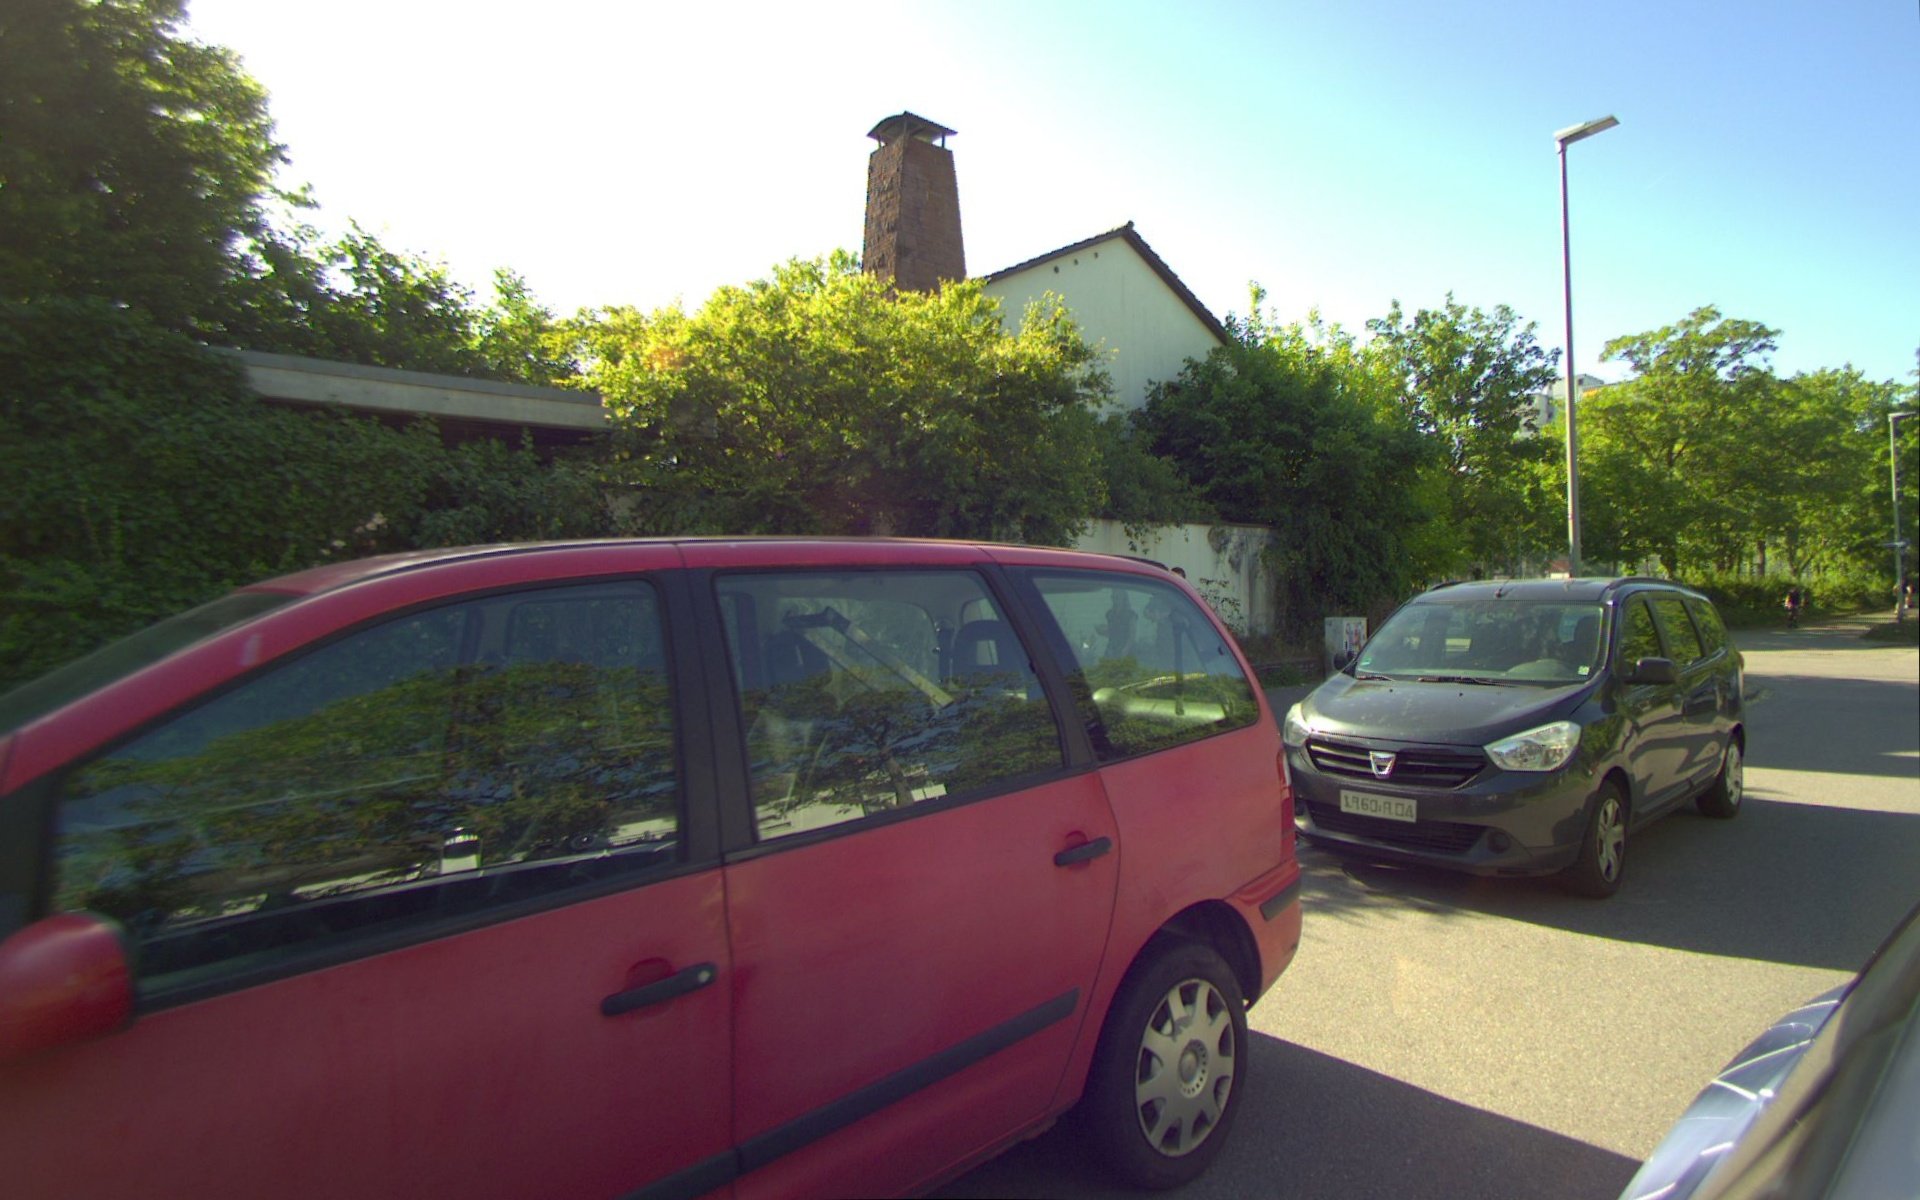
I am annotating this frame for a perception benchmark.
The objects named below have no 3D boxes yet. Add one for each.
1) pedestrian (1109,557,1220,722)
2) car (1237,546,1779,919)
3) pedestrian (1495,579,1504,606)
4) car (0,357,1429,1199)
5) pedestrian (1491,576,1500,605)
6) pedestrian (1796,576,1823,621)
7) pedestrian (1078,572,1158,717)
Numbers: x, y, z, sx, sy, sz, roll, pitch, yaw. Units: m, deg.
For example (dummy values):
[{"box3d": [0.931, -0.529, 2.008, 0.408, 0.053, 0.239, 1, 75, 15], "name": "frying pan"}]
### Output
[{"box3d": [2.294, 0.397, 11.331, 0.968, 1.738, 0.804, -2, 2, -44], "name": "pedestrian"}, {"box3d": [3.788, 0.582, 6.626, 4.277, 1.677, 1.727, -1, 0, -41], "name": "car"}, {"box3d": [30.525, -0.415, 57.250, 0.395, 1.555, 0.316, 0, -1, -44], "name": "pedestrian"}, {"box3d": [-0.813, 0.633, 2.559, 4.570, 1.828, 1.844, -1, 0, -40], "name": "car"}, {"box3d": [29.250, -0.508, 55.234, 0.387, 1.555, 0.319, 0, -1, -44], "name": "pedestrian"}, {"box3d": [31.557, -0.054, 37.598, 0.629, 1.659, 0.641, 0, 0, -38], "name": "pedestrian"}, {"box3d": [1.858, 0.489, 11.901, 0.779, 1.629, 0.573, -2, 2, -44], "name": "pedestrian"}]
